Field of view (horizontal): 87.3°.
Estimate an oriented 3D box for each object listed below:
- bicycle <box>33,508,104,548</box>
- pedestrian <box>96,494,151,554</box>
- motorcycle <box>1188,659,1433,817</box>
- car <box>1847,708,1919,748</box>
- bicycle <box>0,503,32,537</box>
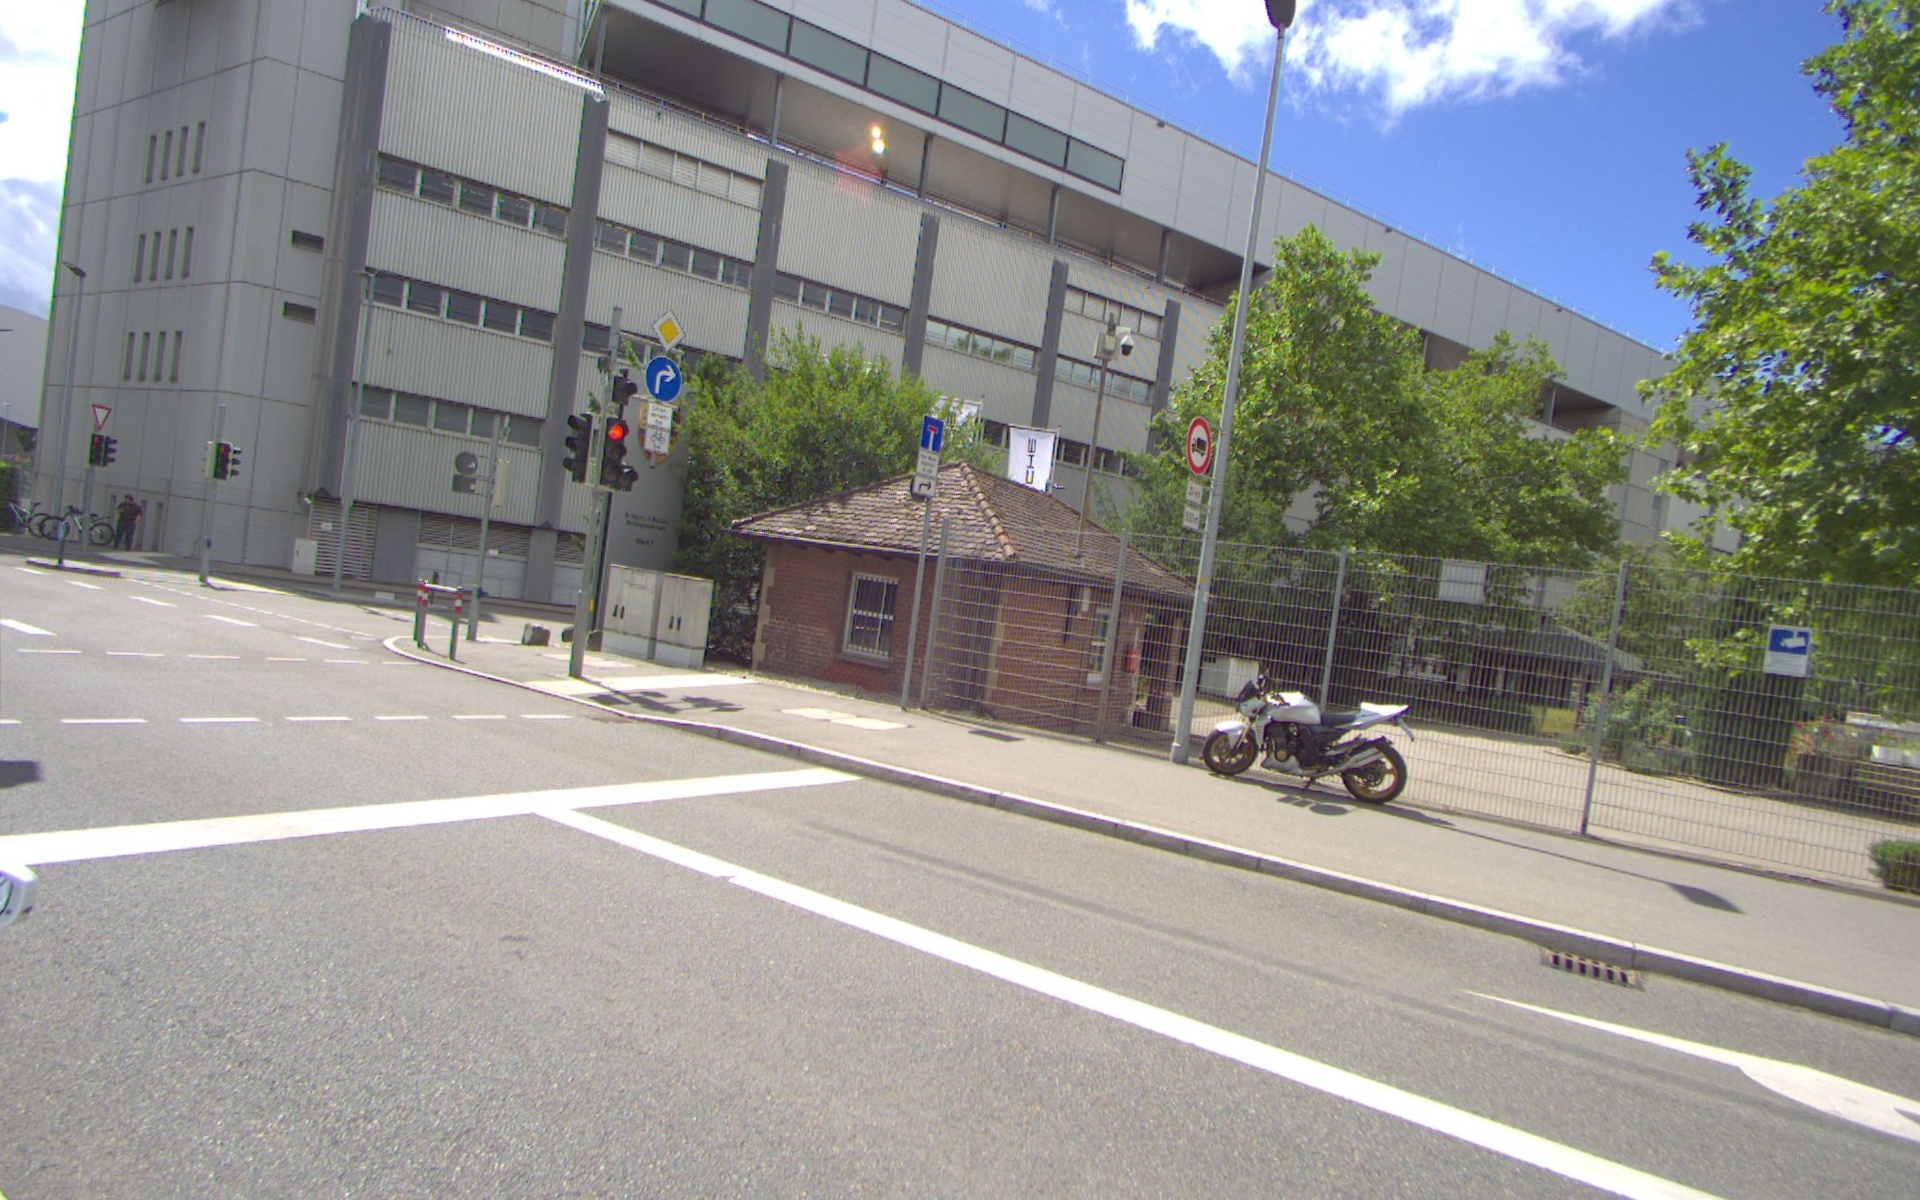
[{"bbox_3d":[-27.252,-2.197,30.755,1.892,0.948,0.399,7,0,6],"label":"bicycle"},{"bbox_3d":[-25.441,-2.302,30.628,0.837,1.644,0.953,7,0,-17],"label":"pedestrian"},{"bbox_3d":[3.457,1.310,9.988,2.110,1.173,0.693,7,2,27],"label":"motorcycle"},{"bbox_3d":[53.051,7.292,56.790,1.979,1.803,3.971,8,-2,-30],"label":"car"},{"bbox_3d":[-29.676,-2.531,31.071,1.891,0.948,0.399,7,0,13],"label":"bicycle"}]
